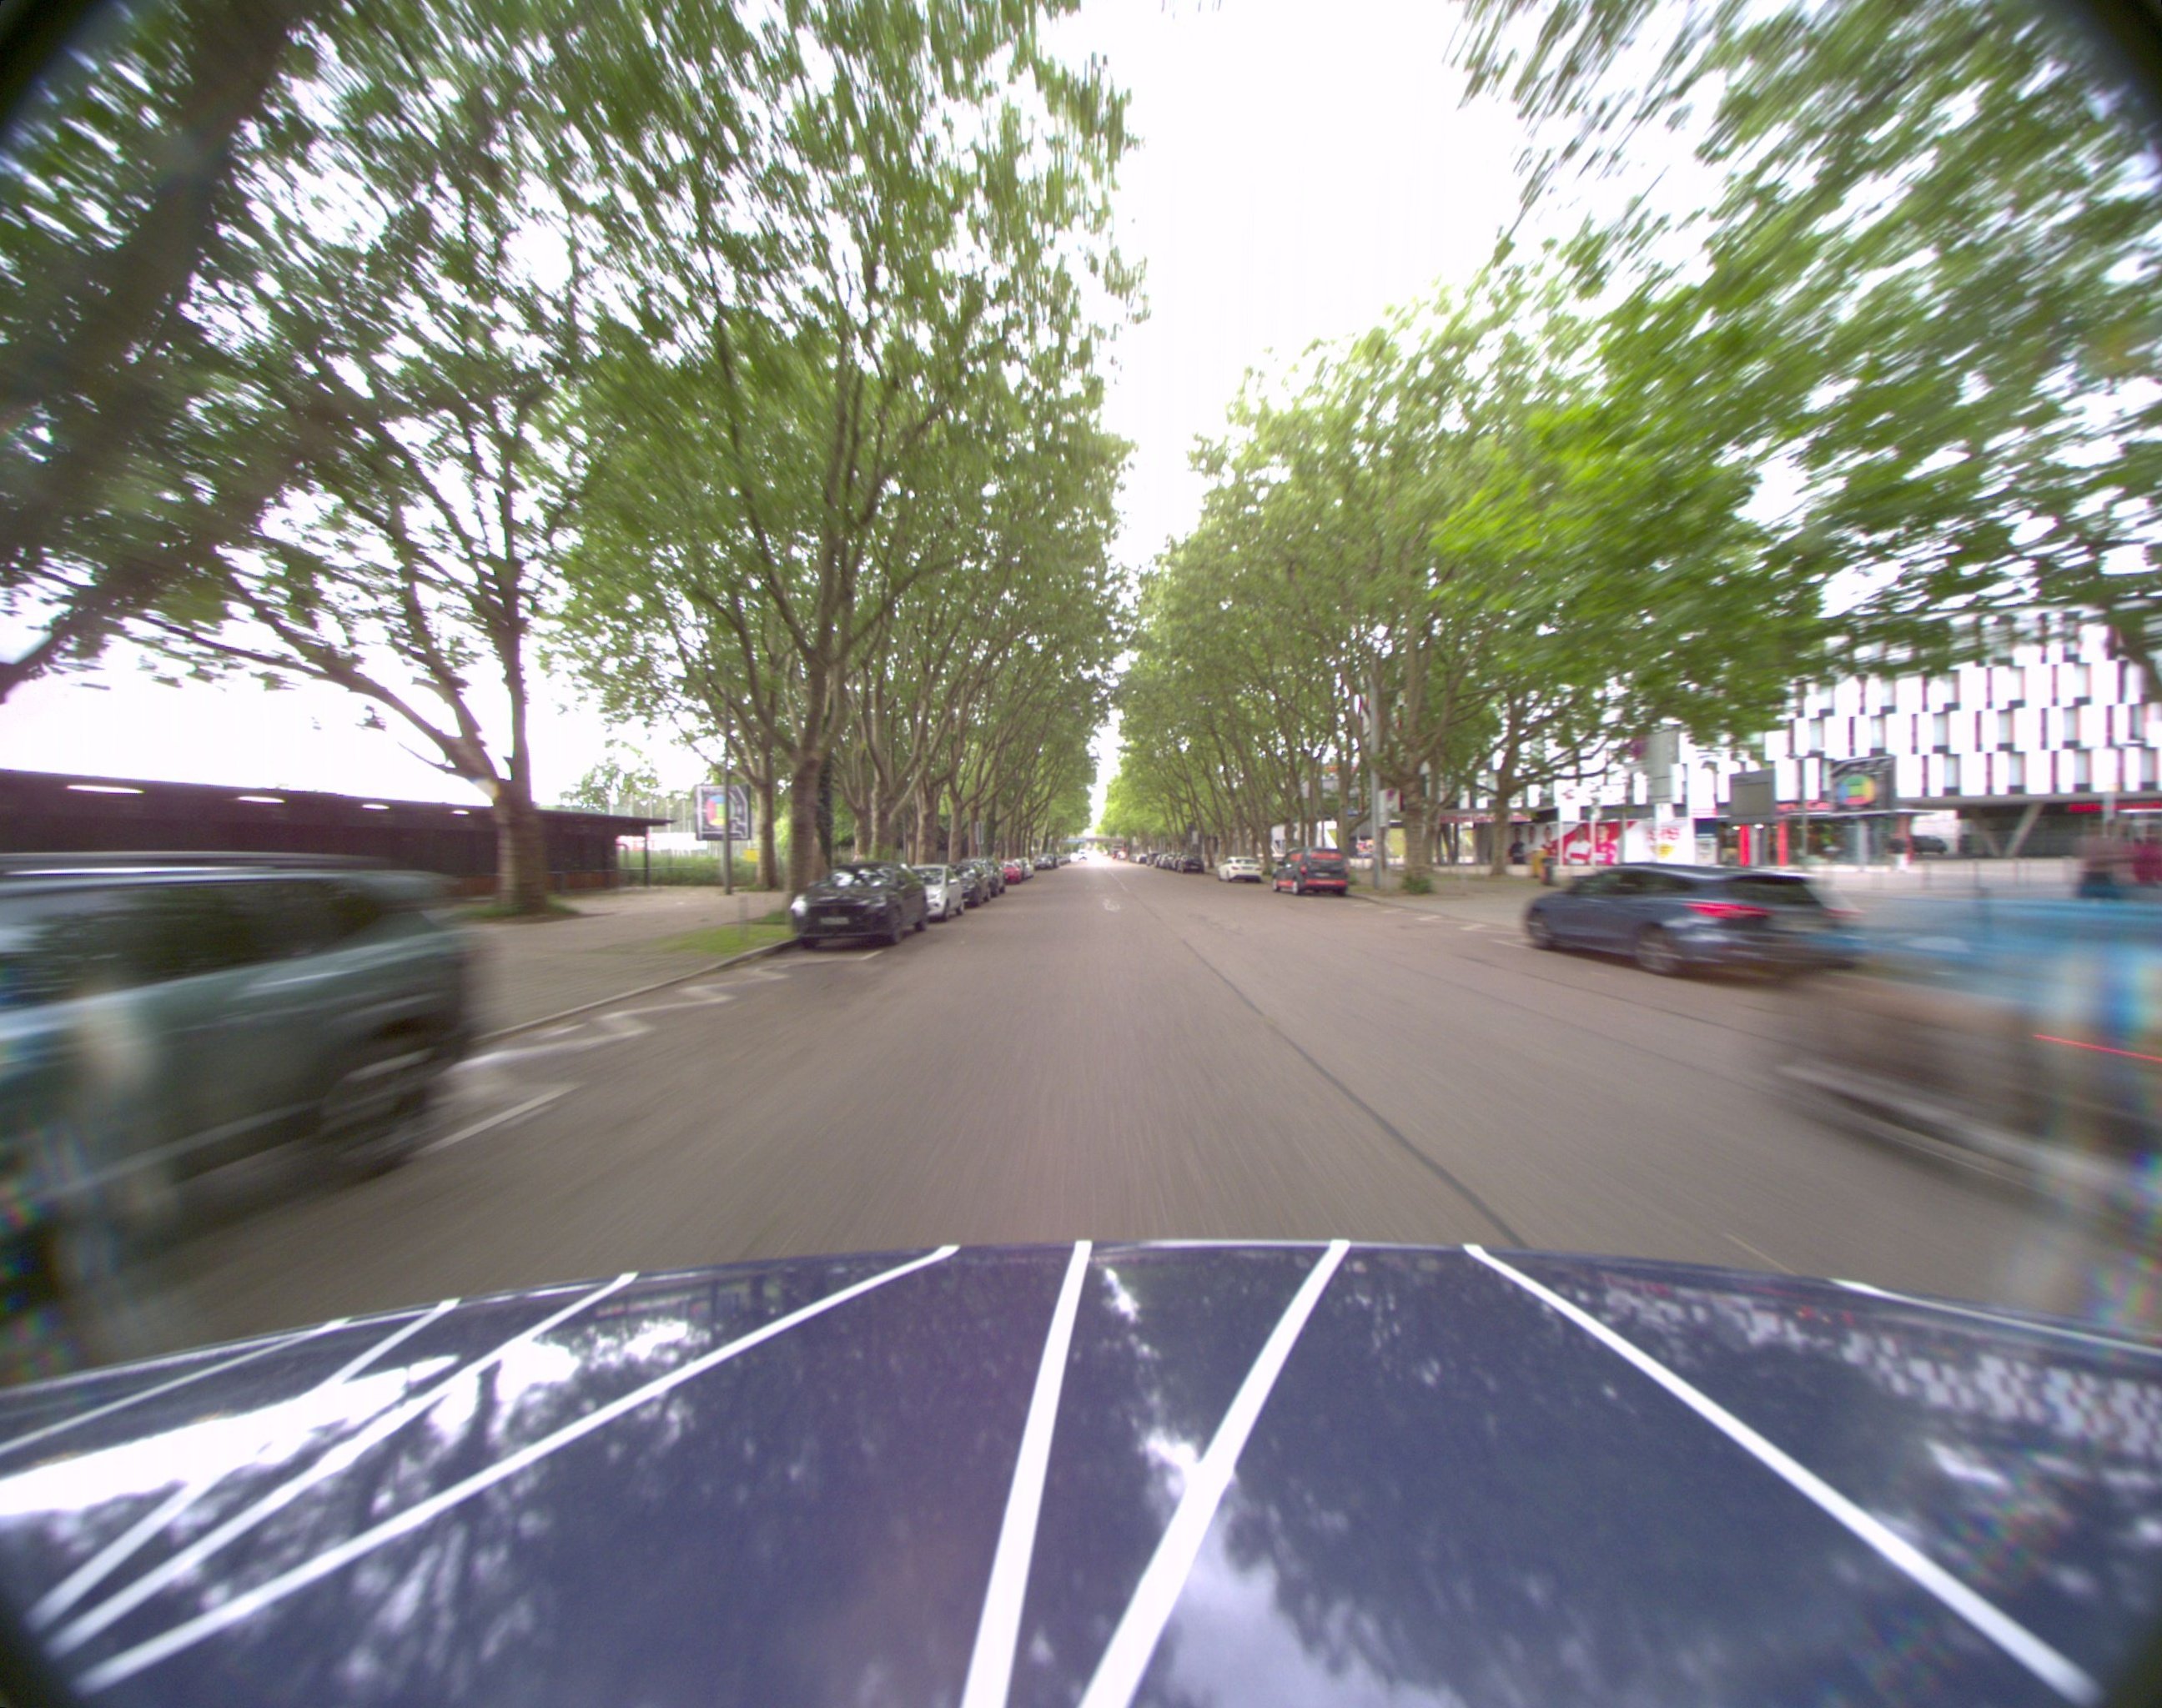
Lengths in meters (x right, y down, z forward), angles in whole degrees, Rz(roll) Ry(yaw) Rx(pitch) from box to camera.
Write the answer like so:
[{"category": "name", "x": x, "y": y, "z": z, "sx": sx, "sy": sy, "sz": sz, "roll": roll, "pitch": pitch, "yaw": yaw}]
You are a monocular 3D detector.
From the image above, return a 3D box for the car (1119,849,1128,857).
[{"category": "car", "x": 10.671, "y": -0.346, "z": 190.657, "sx": 2.064, "sy": 1.950, "sz": 5.466, "roll": 0, "pitch": 0, "yaw": 2}]

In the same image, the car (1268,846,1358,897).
[{"category": "car", "x": 8.632, "y": 0.594, "z": 28.702, "sx": 1.954, "sy": 1.740, "sz": 4.638, "roll": 0, "pitch": 0, "yaw": 0}]

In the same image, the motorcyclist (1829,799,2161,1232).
[{"category": "motorcyclist", "x": 4.068, "y": 0.538, "z": 3.048, "sx": 0.872, "sy": 1.471, "sz": 1.265, "roll": -1, "pitch": 1, "yaw": -3}]

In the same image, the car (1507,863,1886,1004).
[{"category": "car", "x": 8.203, "y": 0.924, "z": 10.824, "sx": 1.729, "sy": 1.477, "sz": 4.574, "roll": -1, "pitch": 0, "yaw": 1}]

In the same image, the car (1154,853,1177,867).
[{"category": "car", "x": 9.092, "y": 0.656, "z": 82.535, "sx": 2.088, "sy": 1.521, "sz": 5.146, "roll": 0, "pitch": 0, "yaw": 2}]

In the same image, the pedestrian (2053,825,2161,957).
[{"category": "pedestrian", "x": 14.190, "y": 0.495, "z": 10.512, "sx": 0.577, "sy": 1.759, "sz": 0.768, "roll": -1, "pitch": 1, "yaw": 15}]

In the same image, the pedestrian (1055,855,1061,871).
[{"category": "pedestrian", "x": -2.479, "y": 0.961, "z": 81.915, "sx": 0.635, "sy": 1.617, "sz": 0.742, "roll": -1, "pitch": 1, "yaw": 0}]

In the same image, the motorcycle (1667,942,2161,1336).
[{"category": "motorcycle", "x": 4.066, "y": 1.087, "z": 3.108, "sx": 0.875, "sy": 1.073, "sz": 3.052, "roll": -1, "pitch": 0, "yaw": -3}]

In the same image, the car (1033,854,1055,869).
[{"category": "car", "x": -3.893, "y": 0.783, "z": 81.171, "sx": 1.998, "sy": 1.469, "sz": 4.371, "roll": -3, "pitch": 0, "yaw": 1}]

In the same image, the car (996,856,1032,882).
[{"category": "car", "x": -4.251, "y": 0.915, "z": 49.002, "sx": 1.734, "sy": 1.461, "sz": 4.080, "roll": -4, "pitch": 0, "yaw": 2}]

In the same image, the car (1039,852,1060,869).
[{"category": "car", "x": -3.687, "y": 0.738, "z": 88.375, "sx": 1.848, "sy": 1.772, "sz": 4.444, "roll": -3, "pitch": 0, "yaw": -8}]

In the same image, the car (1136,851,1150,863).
[{"category": "car", "x": 9.005, "y": 0.426, "z": 110.817, "sx": 1.822, "sy": 1.584, "sz": 4.345, "roll": 2, "pitch": 0, "yaw": 3}]

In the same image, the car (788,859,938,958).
[{"category": "car", "x": -4.342, "y": 0.996, "z": 15.964, "sx": 1.782, "sy": 1.663, "sz": 4.637, "roll": -1, "pitch": 0, "yaw": 0}]

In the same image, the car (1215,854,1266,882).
[{"category": "car", "x": 8.852, "y": 0.751, "z": 42.543, "sx": 1.908, "sy": 1.394, "sz": 4.751, "roll": 2, "pitch": 0, "yaw": 1}]

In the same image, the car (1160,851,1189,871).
[{"category": "car", "x": 8.789, "y": 0.648, "z": 71.621, "sx": 1.874, "sy": 1.708, "sz": 4.647, "roll": 2, "pitch": 0, "yaw": -2}]

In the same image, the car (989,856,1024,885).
[{"category": "car", "x": -4.243, "y": 0.912, "z": 43.708, "sx": 1.721, "sy": 1.430, "sz": 4.627, "roll": -3, "pitch": 0, "yaw": -3}]

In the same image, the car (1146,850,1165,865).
[{"category": "car", "x": 9.387, "y": 0.446, "z": 95.654, "sx": 1.900, "sy": 1.785, "sz": 4.612, "roll": 2, "pitch": 0, "yaw": 0}]

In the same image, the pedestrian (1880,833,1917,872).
[{"category": "pedestrian", "x": 35.805, "y": -0.058, "z": 33.287, "sx": 0.726, "sy": 1.681, "sz": 0.808, "roll": -1, "pitch": 1, "yaw": 4}]

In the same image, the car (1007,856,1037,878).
[{"category": "car", "x": -4.177, "y": 0.871, "z": 53.893, "sx": 1.739, "sy": 1.430, "sz": 4.122, "roll": -1, "pitch": 0, "yaw": 1}]

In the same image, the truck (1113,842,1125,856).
[{"category": "truck", "x": 10.656, "y": -1.502, "z": 211.581, "sx": 2.917, "sy": 3.846, "sz": 9.466, "roll": 0, "pitch": 1, "yaw": 1}]

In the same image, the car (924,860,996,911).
[{"category": "car", "x": -4.093, "y": 1.011, "z": 26.373, "sx": 1.672, "sy": 1.500, "sz": 4.353, "roll": -3, "pitch": 0, "yaw": 1}]

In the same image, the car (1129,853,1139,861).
[{"category": "car", "x": 10.058, "y": 0.509, "z": 143.384, "sx": 1.698, "sy": 1.354, "sz": 4.001, "roll": 3, "pitch": 0, "yaw": 3}]

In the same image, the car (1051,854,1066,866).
[{"category": "car", "x": -3.200, "y": 0.827, "z": 109.189, "sx": 1.834, "sy": 1.593, "sz": 4.467, "roll": -3, "pitch": 0, "yaw": 0}]

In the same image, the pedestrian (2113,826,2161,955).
[{"category": "pedestrian", "x": 14.846, "y": 0.480, "z": 10.356, "sx": 0.575, "sy": 1.732, "sz": 0.768, "roll": -1, "pitch": 1, "yaw": 15}]

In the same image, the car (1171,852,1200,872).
[{"category": "car", "x": 8.994, "y": 0.671, "z": 65.982, "sx": 1.942, "sy": 1.633, "sz": 4.928, "roll": 2, "pitch": 0, "yaw": 2}]

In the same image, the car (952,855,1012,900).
[{"category": "car", "x": -4.011, "y": 0.903, "z": 31.492, "sx": 1.760, "sy": 1.610, "sz": 4.439, "roll": -3, "pitch": 0, "yaw": 1}]

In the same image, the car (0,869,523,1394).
[{"category": "car", "x": -4.485, "y": 0.992, "z": 2.583, "sx": 1.712, "sy": 1.688, "sz": 4.630, "roll": -3, "pitch": 0, "yaw": -1}]

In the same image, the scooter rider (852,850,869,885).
[{"category": "scooter rider", "x": -11.191, "y": 0.682, "z": 38.538, "sx": 0.678, "sy": 1.789, "sz": 0.587, "roll": 1, "pitch": 1, "yaw": 1}]

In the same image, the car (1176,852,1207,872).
[{"category": "car", "x": 8.725, "y": 0.614, "z": 60.473, "sx": 1.838, "sy": 1.486, "sz": 4.442, "roll": 2, "pitch": 0, "yaw": 1}]

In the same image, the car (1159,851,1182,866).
[{"category": "car", "x": 9.044, "y": 0.414, "z": 77.096, "sx": 1.838, "sy": 1.447, "sz": 4.230, "roll": 2, "pitch": 0, "yaw": 1}]

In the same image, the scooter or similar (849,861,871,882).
[{"category": "scooter or similar", "x": -11.197, "y": 0.888, "z": 38.538, "sx": 0.682, "sy": 1.032, "sz": 1.467, "roll": 2, "pitch": 0, "yaw": 1}]

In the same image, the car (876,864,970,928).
[{"category": "car", "x": -4.224, "y": 1.077, "z": 20.878, "sx": 1.620, "sy": 1.433, "sz": 3.710, "roll": -3, "pitch": 0, "yaw": 2}]
